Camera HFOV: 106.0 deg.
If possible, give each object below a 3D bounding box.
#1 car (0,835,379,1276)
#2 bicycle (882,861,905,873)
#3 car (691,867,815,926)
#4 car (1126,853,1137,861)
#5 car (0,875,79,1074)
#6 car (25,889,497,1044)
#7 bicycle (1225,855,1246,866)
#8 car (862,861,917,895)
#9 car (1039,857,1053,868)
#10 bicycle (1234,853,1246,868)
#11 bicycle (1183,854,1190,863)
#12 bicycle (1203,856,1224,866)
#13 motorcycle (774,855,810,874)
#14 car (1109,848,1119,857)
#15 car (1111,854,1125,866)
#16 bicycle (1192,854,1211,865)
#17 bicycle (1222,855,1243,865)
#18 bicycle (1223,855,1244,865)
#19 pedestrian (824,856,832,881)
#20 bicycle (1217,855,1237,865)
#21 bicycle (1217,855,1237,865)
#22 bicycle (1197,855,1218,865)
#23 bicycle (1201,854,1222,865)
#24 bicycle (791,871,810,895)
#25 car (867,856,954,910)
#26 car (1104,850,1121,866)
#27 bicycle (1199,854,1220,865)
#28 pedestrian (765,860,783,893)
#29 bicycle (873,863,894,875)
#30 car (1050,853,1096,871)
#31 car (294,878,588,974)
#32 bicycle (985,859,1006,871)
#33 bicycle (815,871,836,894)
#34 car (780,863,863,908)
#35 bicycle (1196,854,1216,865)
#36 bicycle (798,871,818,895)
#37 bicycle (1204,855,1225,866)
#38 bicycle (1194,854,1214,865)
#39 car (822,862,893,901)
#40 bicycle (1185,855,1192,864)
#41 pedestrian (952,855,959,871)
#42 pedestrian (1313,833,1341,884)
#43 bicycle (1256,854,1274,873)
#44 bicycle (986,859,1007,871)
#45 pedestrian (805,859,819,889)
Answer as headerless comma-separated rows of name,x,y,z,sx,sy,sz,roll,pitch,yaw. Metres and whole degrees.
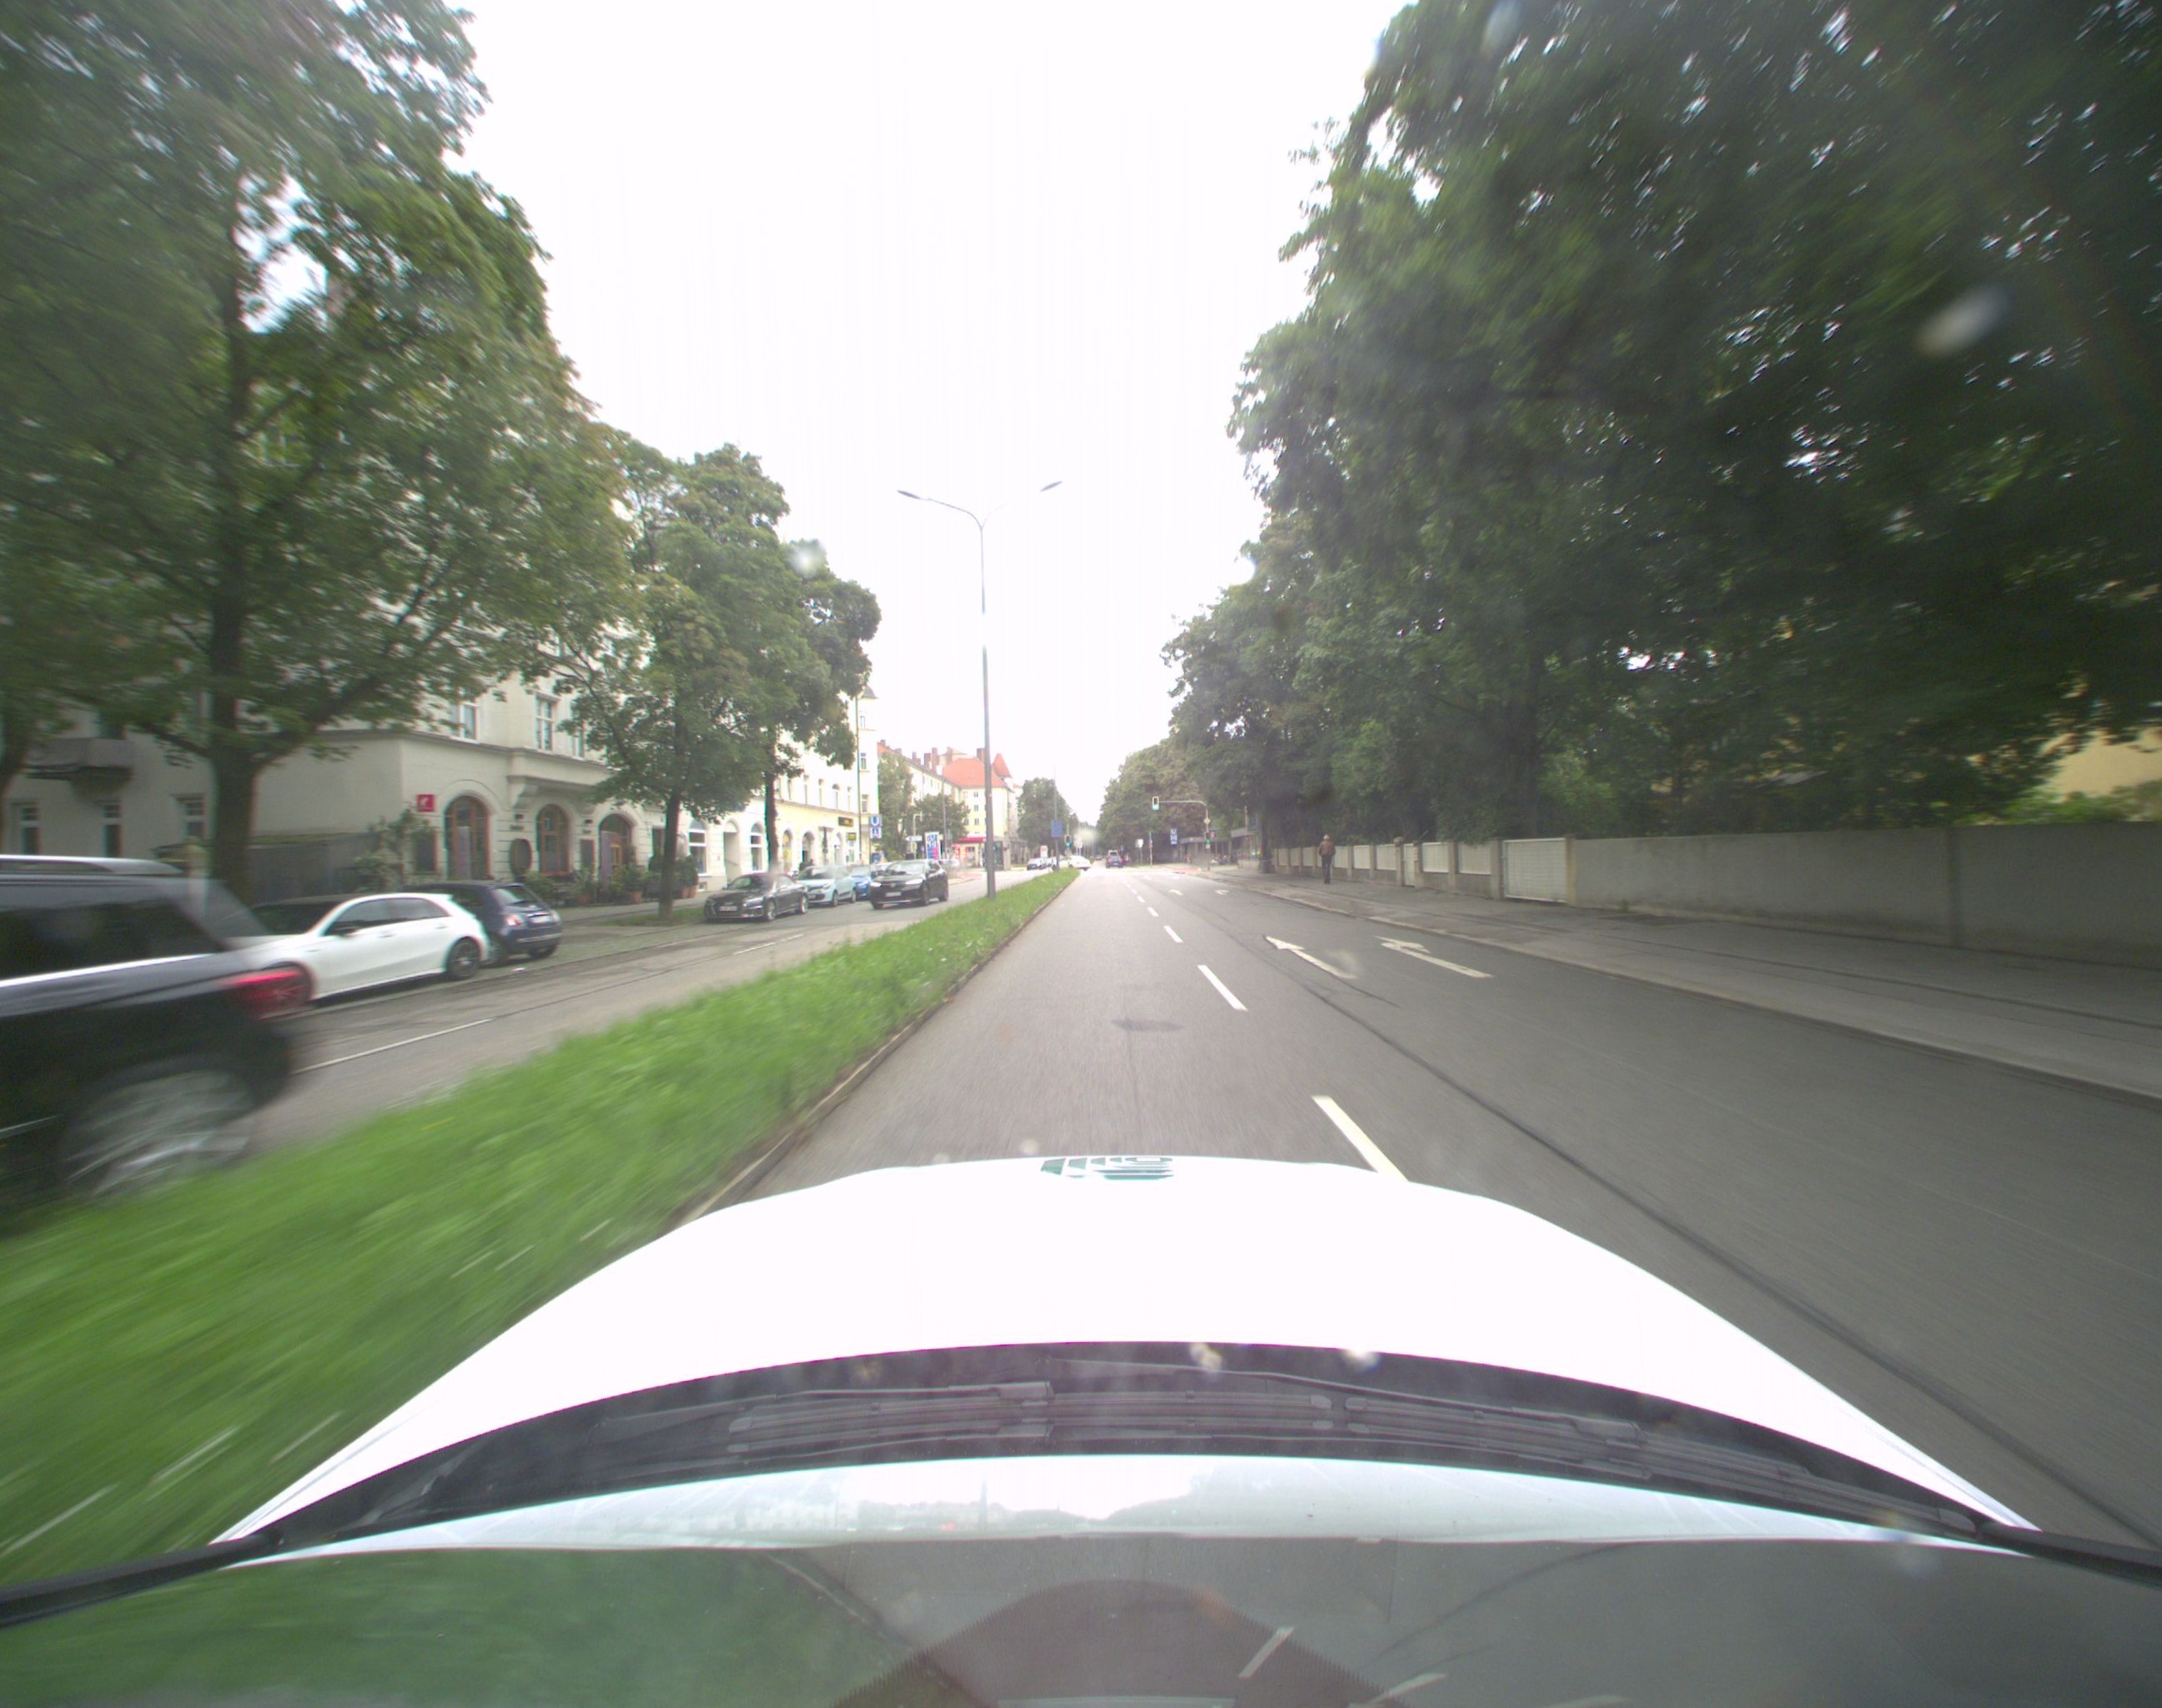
car,-5.051,0.816,2.539,1.763,1.679,4.370,-3,0,1
bicycle,-20.609,1.413,89.684,2.394,1.251,0.789,0,-1,-10
car,-9.907,1.226,25.042,1.804,1.507,4.647,-2,0,1
car,9.133,0.531,147.431,1.737,1.363,3.807,-2,0,1
car,-10.458,1.093,5.320,1.804,1.728,4.769,-2,0,1
car,-10.297,1.291,10.855,1.720,1.403,4.405,-2,0,1
bicycle,16.212,0.688,85.581,2.130,1.014,0.636,-2,0,9
car,-9.519,1.158,40.732,1.642,1.585,3.793,-2,0,3
car,-5.023,1.249,118.776,1.753,1.460,4.001,-2,0,1
bicycle,12.455,0.520,63.799,0.597,1.121,1.890,-2,-1,2
bicycle,12.515,0.551,96.538,0.555,1.014,2.015,-2,0,-1
bicycle,13.805,0.703,84.693,2.130,1.014,0.604,-2,0,9
motorcycle,-17.677,0.619,49.806,0.602,1.130,1.999,-2,-1,41
car,7.161,-0.314,176.300,1.987,1.756,4.000,-2,0,1
car,5.207,0.892,115.133,1.915,1.684,4.003,0,-1,3
bicycle,13.509,0.601,91.270,2.130,1.218,0.604,-2,0,9
bicycle,16.204,0.603,87.147,2.130,1.014,0.636,-2,0,9
bicycle,16.179,0.595,86.380,2.130,1.014,0.636,-2,0,9
pedestrian,-16.705,0.936,53.780,0.422,1.631,0.780,-2,0,-11
bicycle,16.027,0.623,89.522,2.130,1.014,0.636,-2,0,9
bicycle,16.208,0.631,90.308,2.130,1.014,0.636,-2,0,9
bicycle,13.585,0.620,87.498,2.130,1.014,0.604,-2,0,9
bicycle,13.817,0.616,86.124,2.130,1.071,0.604,-2,0,9
bicycle,-13.454,1.366,39.088,0.460,1.115,1.947,-1,0,-30
car,-5.914,0.951,28.794,1.868,1.585,4.622,-4,0,2
car,3.590,0.454,92.822,1.850,1.684,4.001,-2,0,1
bicycle,13.696,0.608,86.781,2.130,1.101,0.604,-2,0,9
pedestrian,-15.726,1.140,41.727,0.541,1.697,0.770,-2,0,-1
bicycle,-21.553,1.643,88.970,2.179,1.236,0.764,-2,0,-9
car,-0.845,0.807,79.489,1.794,1.647,4.724,-1,0,-41
car,-11.434,1.245,14.742,3.877,1.464,1.732,-2,0,-1
bicycle,-9.758,1.303,93.042,2.262,1.304,0.704,-2,0,2
bicycle,-12.627,1.387,40.216,0.551,1.115,1.863,-2,0,-30
car,-9.899,1.164,31.382,1.804,1.507,3.961,-2,0,1
bicycle,13.563,0.589,88.228,2.130,1.086,0.604,-2,0,9
bicycle,-13.274,1.388,39.630,0.506,1.115,1.969,-2,0,-30
bicycle,14.020,0.688,85.314,2.130,1.014,0.636,-2,0,9
bicycle,13.450,0.571,88.968,2.130,1.178,0.604,-2,0,9
car,-9.719,1.156,35.802,1.804,1.507,4.292,-2,0,1
bicycle,12.393,0.577,93.805,0.555,1.014,2.015,-2,0,-1
pedestrian,-13.461,0.923,87.561,0.531,1.695,0.579,-2,0,10
pedestrian,9.722,0.164,32.237,0.775,1.942,0.802,-3,0,1
bicycle,10.988,0.558,48.670,0.620,1.090,2.026,-2,0,1
bicycle,-9.714,1.293,93.822,2.276,1.304,0.694,-2,0,2
pedestrian,-15.581,1.157,47.180,0.594,1.697,0.937,-2,0,-26
